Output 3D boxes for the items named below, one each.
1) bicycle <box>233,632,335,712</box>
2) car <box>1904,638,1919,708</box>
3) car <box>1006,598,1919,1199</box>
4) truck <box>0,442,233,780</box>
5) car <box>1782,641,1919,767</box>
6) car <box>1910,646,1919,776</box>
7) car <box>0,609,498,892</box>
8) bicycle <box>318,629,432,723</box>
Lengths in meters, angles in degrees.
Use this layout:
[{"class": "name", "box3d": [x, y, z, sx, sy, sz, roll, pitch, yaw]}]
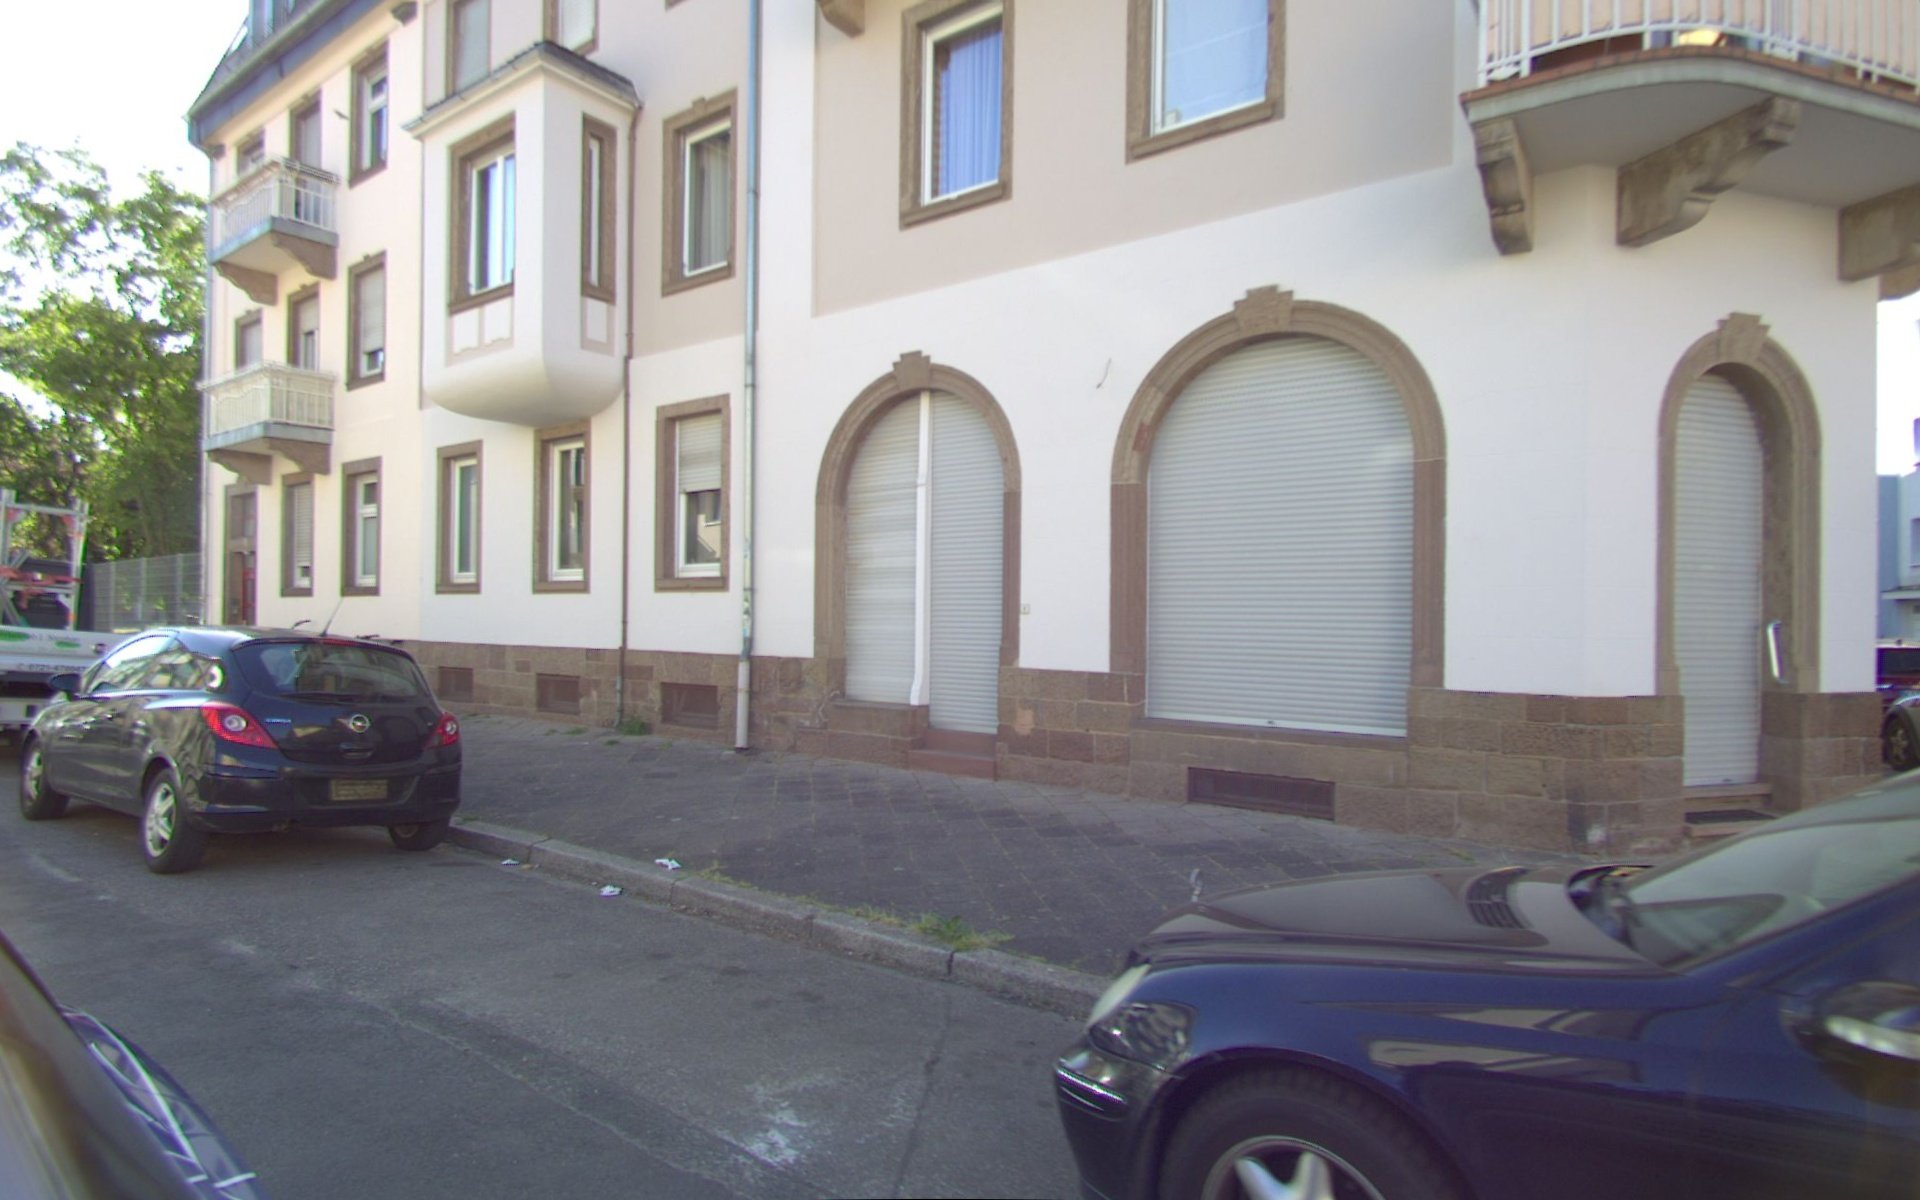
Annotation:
[{"class": "bicycle", "box3d": [-11.079, 1.139, 16.557, 2.336, 1.213, 0.623, -1, -2, 37]}, {"class": "car", "box3d": [20.341, 1.492, 19.528, 1.582, 1.452, 3.967, 0, -2, 19]}, {"class": "car", "box3d": [2.388, 0.812, 1.626, 4.363, 1.426, 1.689, 1, -5, 34]}, {"class": "truck", "box3d": [-11.142, 0.134, 11.672, 7.264, 3.009, 2.238, 0, -5, 37]}, {"class": "car", "box3d": [12.264, 1.281, 13.122, 1.584, 1.433, 3.148, 0, -2, 22]}, {"class": "car", "box3d": [10.672, 1.174, 9.421, 1.584, 1.410, 3.148, 0, -2, 22]}, {"class": "car", "box3d": [-5.251, 0.881, 7.185, 4.071, 1.426, 1.631, 1, -5, 34]}, {"class": "bicycle", "box3d": [-8.651, 1.076, 14.932, 2.336, 1.289, 0.564, -1, -2, 37]}]
